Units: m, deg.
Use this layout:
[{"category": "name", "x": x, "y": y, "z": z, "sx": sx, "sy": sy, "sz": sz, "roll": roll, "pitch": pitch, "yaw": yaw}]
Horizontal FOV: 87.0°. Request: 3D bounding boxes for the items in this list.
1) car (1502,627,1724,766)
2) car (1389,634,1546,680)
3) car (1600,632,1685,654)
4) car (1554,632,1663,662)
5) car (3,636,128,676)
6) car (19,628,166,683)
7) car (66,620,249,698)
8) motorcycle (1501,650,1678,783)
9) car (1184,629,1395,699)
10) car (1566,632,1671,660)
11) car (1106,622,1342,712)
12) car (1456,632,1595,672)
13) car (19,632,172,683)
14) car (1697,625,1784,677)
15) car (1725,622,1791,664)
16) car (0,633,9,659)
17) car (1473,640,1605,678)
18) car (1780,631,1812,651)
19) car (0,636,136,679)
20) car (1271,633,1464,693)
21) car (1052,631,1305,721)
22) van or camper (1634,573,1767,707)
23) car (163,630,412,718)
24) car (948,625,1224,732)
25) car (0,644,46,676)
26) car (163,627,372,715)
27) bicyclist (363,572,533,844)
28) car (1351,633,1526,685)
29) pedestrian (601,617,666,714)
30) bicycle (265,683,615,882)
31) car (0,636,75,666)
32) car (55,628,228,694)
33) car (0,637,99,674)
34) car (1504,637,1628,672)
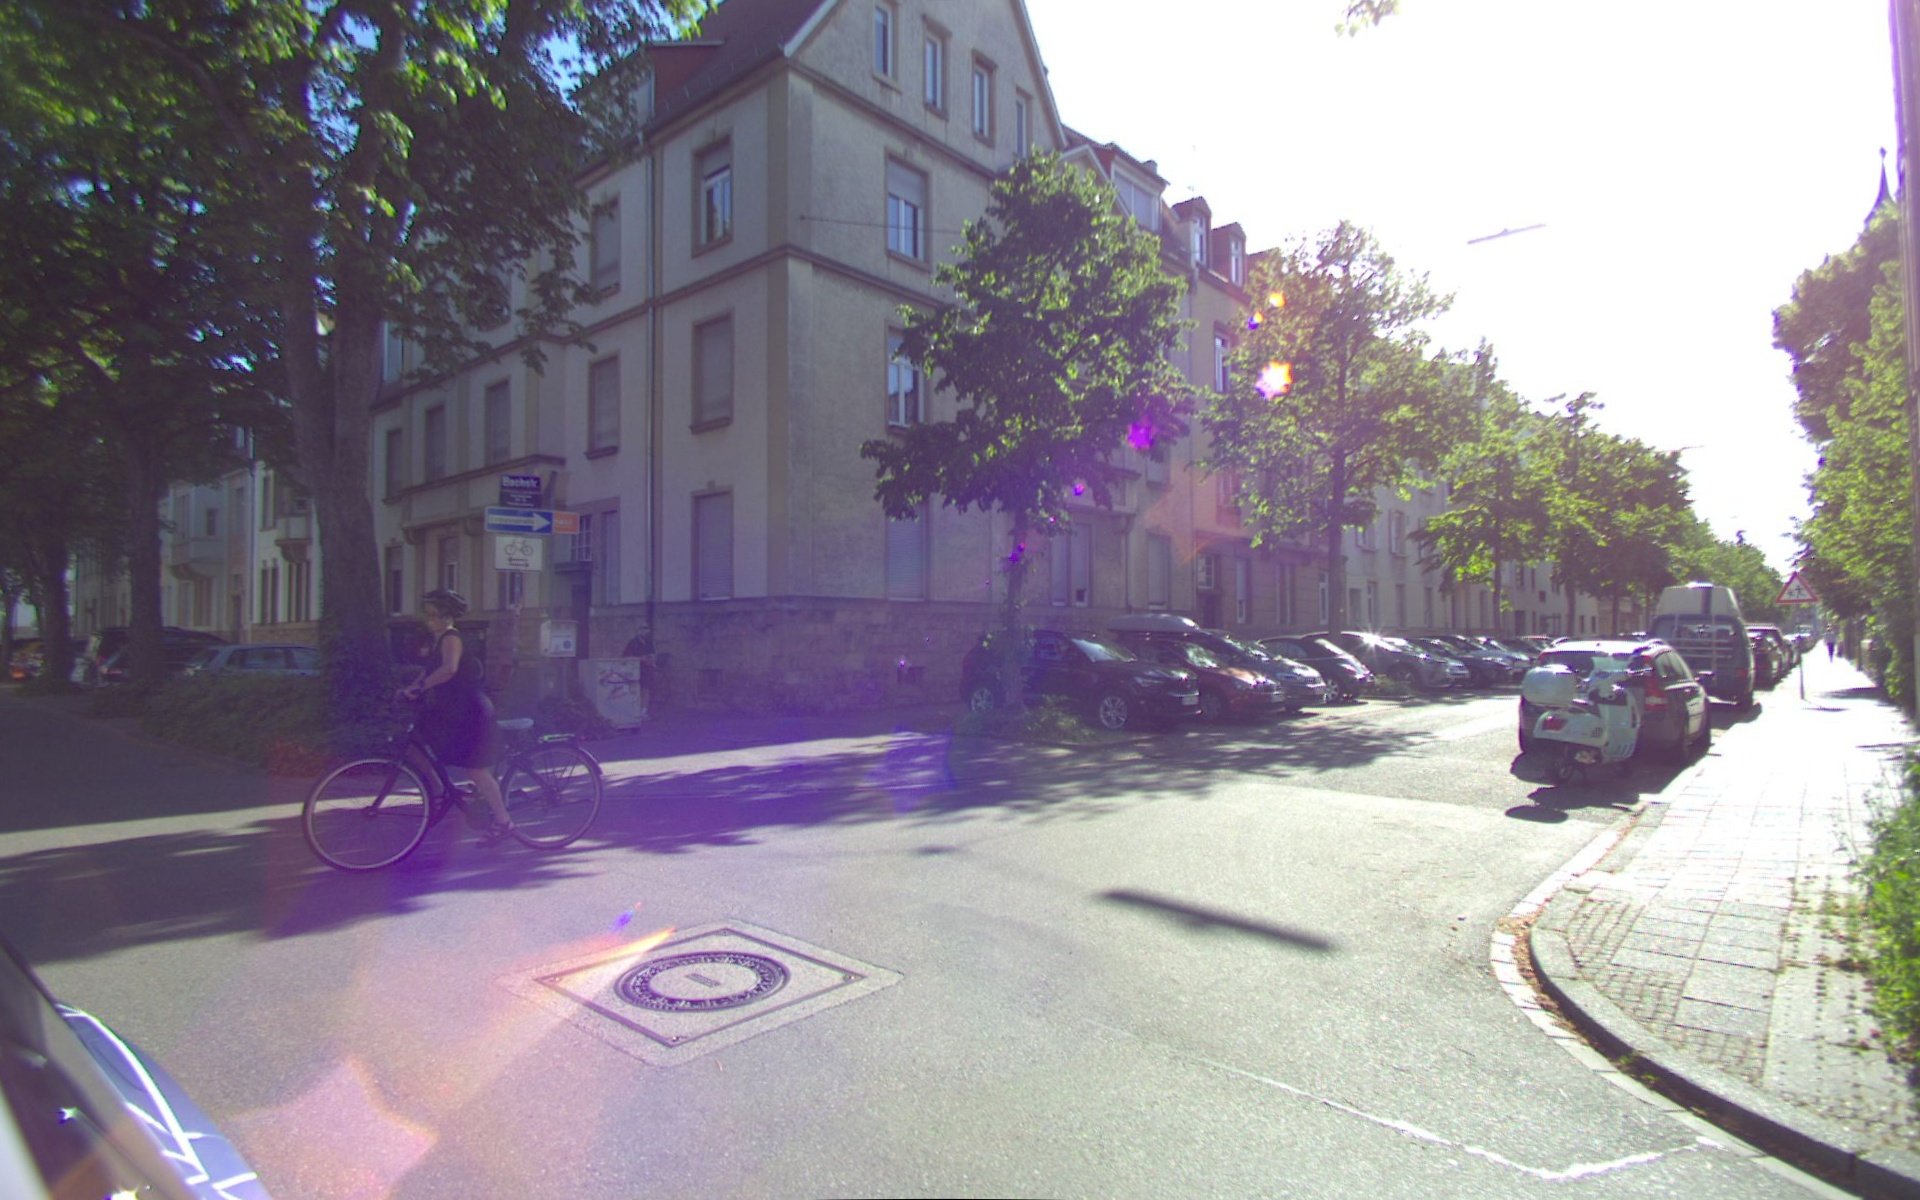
[{"category": "car", "x": 8.572, "y": 1.119, "z": 13.147, "sx": 1.894, "sy": 1.475, "sz": 3.852, "roll": 0, "pitch": -1, "yaw": 41}, {"category": "car", "x": 17.084, "y": 1.880, "z": 34.172, "sx": 4.417, "sy": 1.420, "sz": 1.845, "roll": -1, "pitch": -2, "yaw": 42}, {"category": "car", "x": 45.253, "y": 2.831, "z": 67.158, "sx": 4.417, "sy": 1.420, "sz": 1.845, "roll": -2, "pitch": -3, "yaw": 42}, {"category": "car", "x": 32.887, "y": 2.365, "z": 51.395, "sx": 4.417, "sy": 1.420, "sz": 1.845, "roll": -2, "pitch": -3, "yaw": 42}, {"category": "car", "x": -34.860, "y": 2.154, "z": 39.505, "sx": 1.541, "sy": 1.440, "sz": 3.452, "roll": -2, "pitch": -3, "yaw": 40}, {"category": "car", "x": -28.236, "y": 1.770, "z": 33.016, "sx": 1.460, "sy": 1.704, "sz": 3.452, "roll": -2, "pitch": -3, "yaw": 40}, {"category": "car", "x": -21.040, "y": 1.501, "z": 26.624, "sx": 1.820, "sy": 1.907, "sz": 3.452, "roll": -2, "pitch": -3, "yaw": 40}, {"category": "motorcycle", "x": 6.447, "y": 1.147, "z": 10.358, "sx": 1.815, "sy": 1.249, "sz": 0.590, "roll": 1, "pitch": -2, "yaw": -24}, {"category": "car", "x": 7.765, "y": 1.457, "z": 24.107, "sx": 4.417, "sy": 1.496, "sz": 1.845, "roll": -1, "pitch": -2, "yaw": 42}, {"category": "car", "x": 34.945, "y": 2.436, "z": 53.790, "sx": 4.417, "sy": 1.420, "sz": 1.845, "roll": -2, "pitch": -3, "yaw": 42}, {"category": "car", "x": 5.342, "y": 1.296, "z": 20.837, "sx": 4.417, "sy": 1.667, "sz": 1.767, "roll": -1, "pitch": -2, "yaw": 42}, {"category": "car", "x": 21.950, "y": 1.996, "z": 39.366, "sx": 4.417, "sy": 1.420, "sz": 1.845, "roll": -1, "pitch": -2, "yaw": 42}, {"category": "car", "x": -27.057, "y": 1.763, "z": 31.741, "sx": 1.440, "sy": 1.504, "sz": 3.452, "roll": -2, "pitch": -3, "yaw": 40}, {"category": "car", "x": 24.414, "y": 1.542, "z": 31.609, "sx": 1.910, "sy": 1.475, "sz": 3.852, "roll": 0, "pitch": -1, "yaw": 41}, {"category": "car", "x": 32.103, "y": 1.697, "z": 40.677, "sx": 1.910, "sy": 1.539, "sz": 3.852, "roll": 0, "pitch": -1, "yaw": 41}, {"category": "car", "x": -56.378, "y": 2.625, "z": 57.354, "sx": 1.541, "sy": 1.440, "sz": 3.452, "roll": -2, "pitch": -3, "yaw": 40}, {"category": "car", "x": 23.672, "y": 2.392, "z": 41.455, "sx": 4.417, "sy": 1.420, "sz": 1.845, "roll": -1, "pitch": -2, "yaw": 42}, {"category": "car", "x": 69.161, "y": 3.383, "z": 83.687, "sx": 1.910, "sy": 1.539, "sz": 3.852, "roll": -2, "pitch": -3, "yaw": 41}, {"category": "car", "x": -31.878, "y": 2.017, "z": 36.237, "sx": 1.541, "sy": 1.440, "sz": 3.452, "roll": -2, "pitch": -3, "yaw": 40}, {"category": "car", "x": 10.745, "y": 1.606, "z": 26.862, "sx": 4.417, "sy": 1.420, "sz": 1.845, "roll": -1, "pitch": -2, "yaw": 42}, {"category": "car", "x": 3.966, "y": 1.323, "z": 18.805, "sx": 4.280, "sy": 1.452, "sz": 1.845, "roll": -1, "pitch": -2, "yaw": 42}, {"category": "van or camper", "x": 15.684, "y": 0.801, "z": 21.351, "sx": 1.910, "sy": 2.543, "sz": 4.210, "roll": 0, "pitch": -1, "yaw": 41}, {"category": "car", "x": -13.404, "y": 1.393, "z": 20.280, "sx": 3.939, "sy": 1.443, "sz": 1.806, "roll": -1, "pitch": 0, "yaw": -42}, {"category": "car", "x": 2.031, "y": 1.222, "z": 17.155, "sx": 4.416, "sy": 1.566, "sz": 1.845, "roll": -1, "pitch": -2, "yaw": 42}, {"category": "car", "x": -44.696, "y": 2.765, "z": 46.754, "sx": 1.541, "sy": 1.440, "sz": 3.452, "roll": -2, "pitch": -3, "yaw": 40}, {"category": "car", "x": -16.317, "y": 1.595, "z": 23.984, "sx": 3.934, "sy": 1.775, "sz": 2.005, "roll": -1, "pitch": 0, "yaw": -35}, {"category": "bicyclist", "x": -3.252, "y": 0.646, "z": 6.441, "sx": 0.755, "sy": 1.583, "sz": 0.728, "roll": -2, "pitch": -2, "yaw": 40}, {"category": "car", "x": 14.302, "y": 1.722, "z": 30.369, "sx": 4.417, "sy": 1.420, "sz": 1.845, "roll": -1, "pitch": -2, "yaw": 42}, {"category": "pedestrian", "x": -5.650, "y": 1.108, "z": 17.520, "sx": 0.978, "sy": 1.620, "sz": 0.658, "roll": -2, "pitch": -2, "yaw": 41}, {"category": "bicycle", "x": -3.216, "y": 1.070, "z": 6.442, "sx": 0.594, "sy": 0.994, "sz": 1.895, "roll": -2, "pitch": -3, "yaw": 40}, {"category": "car", "x": -45.799, "y": 2.488, "z": 49.581, "sx": 1.541, "sy": 1.440, "sz": 3.452, "roll": -2, "pitch": -3, "yaw": 40}, {"category": "car", "x": -22.509, "y": 1.629, "z": 27.912, "sx": 1.681, "sy": 1.704, "sz": 3.452, "roll": -2, "pitch": -3, "yaw": 40}, {"category": "car", "x": -36.864, "y": 2.201, "z": 40.477, "sx": 1.541, "sy": 1.440, "sz": 3.452, "roll": -2, "pitch": -3, "yaw": 40}, {"category": "car", "x": 26.588, "y": 2.343, "z": 44.465, "sx": 4.417, "sy": 1.420, "sz": 1.845, "roll": -1, "pitch": -2, "yaw": 42}]
